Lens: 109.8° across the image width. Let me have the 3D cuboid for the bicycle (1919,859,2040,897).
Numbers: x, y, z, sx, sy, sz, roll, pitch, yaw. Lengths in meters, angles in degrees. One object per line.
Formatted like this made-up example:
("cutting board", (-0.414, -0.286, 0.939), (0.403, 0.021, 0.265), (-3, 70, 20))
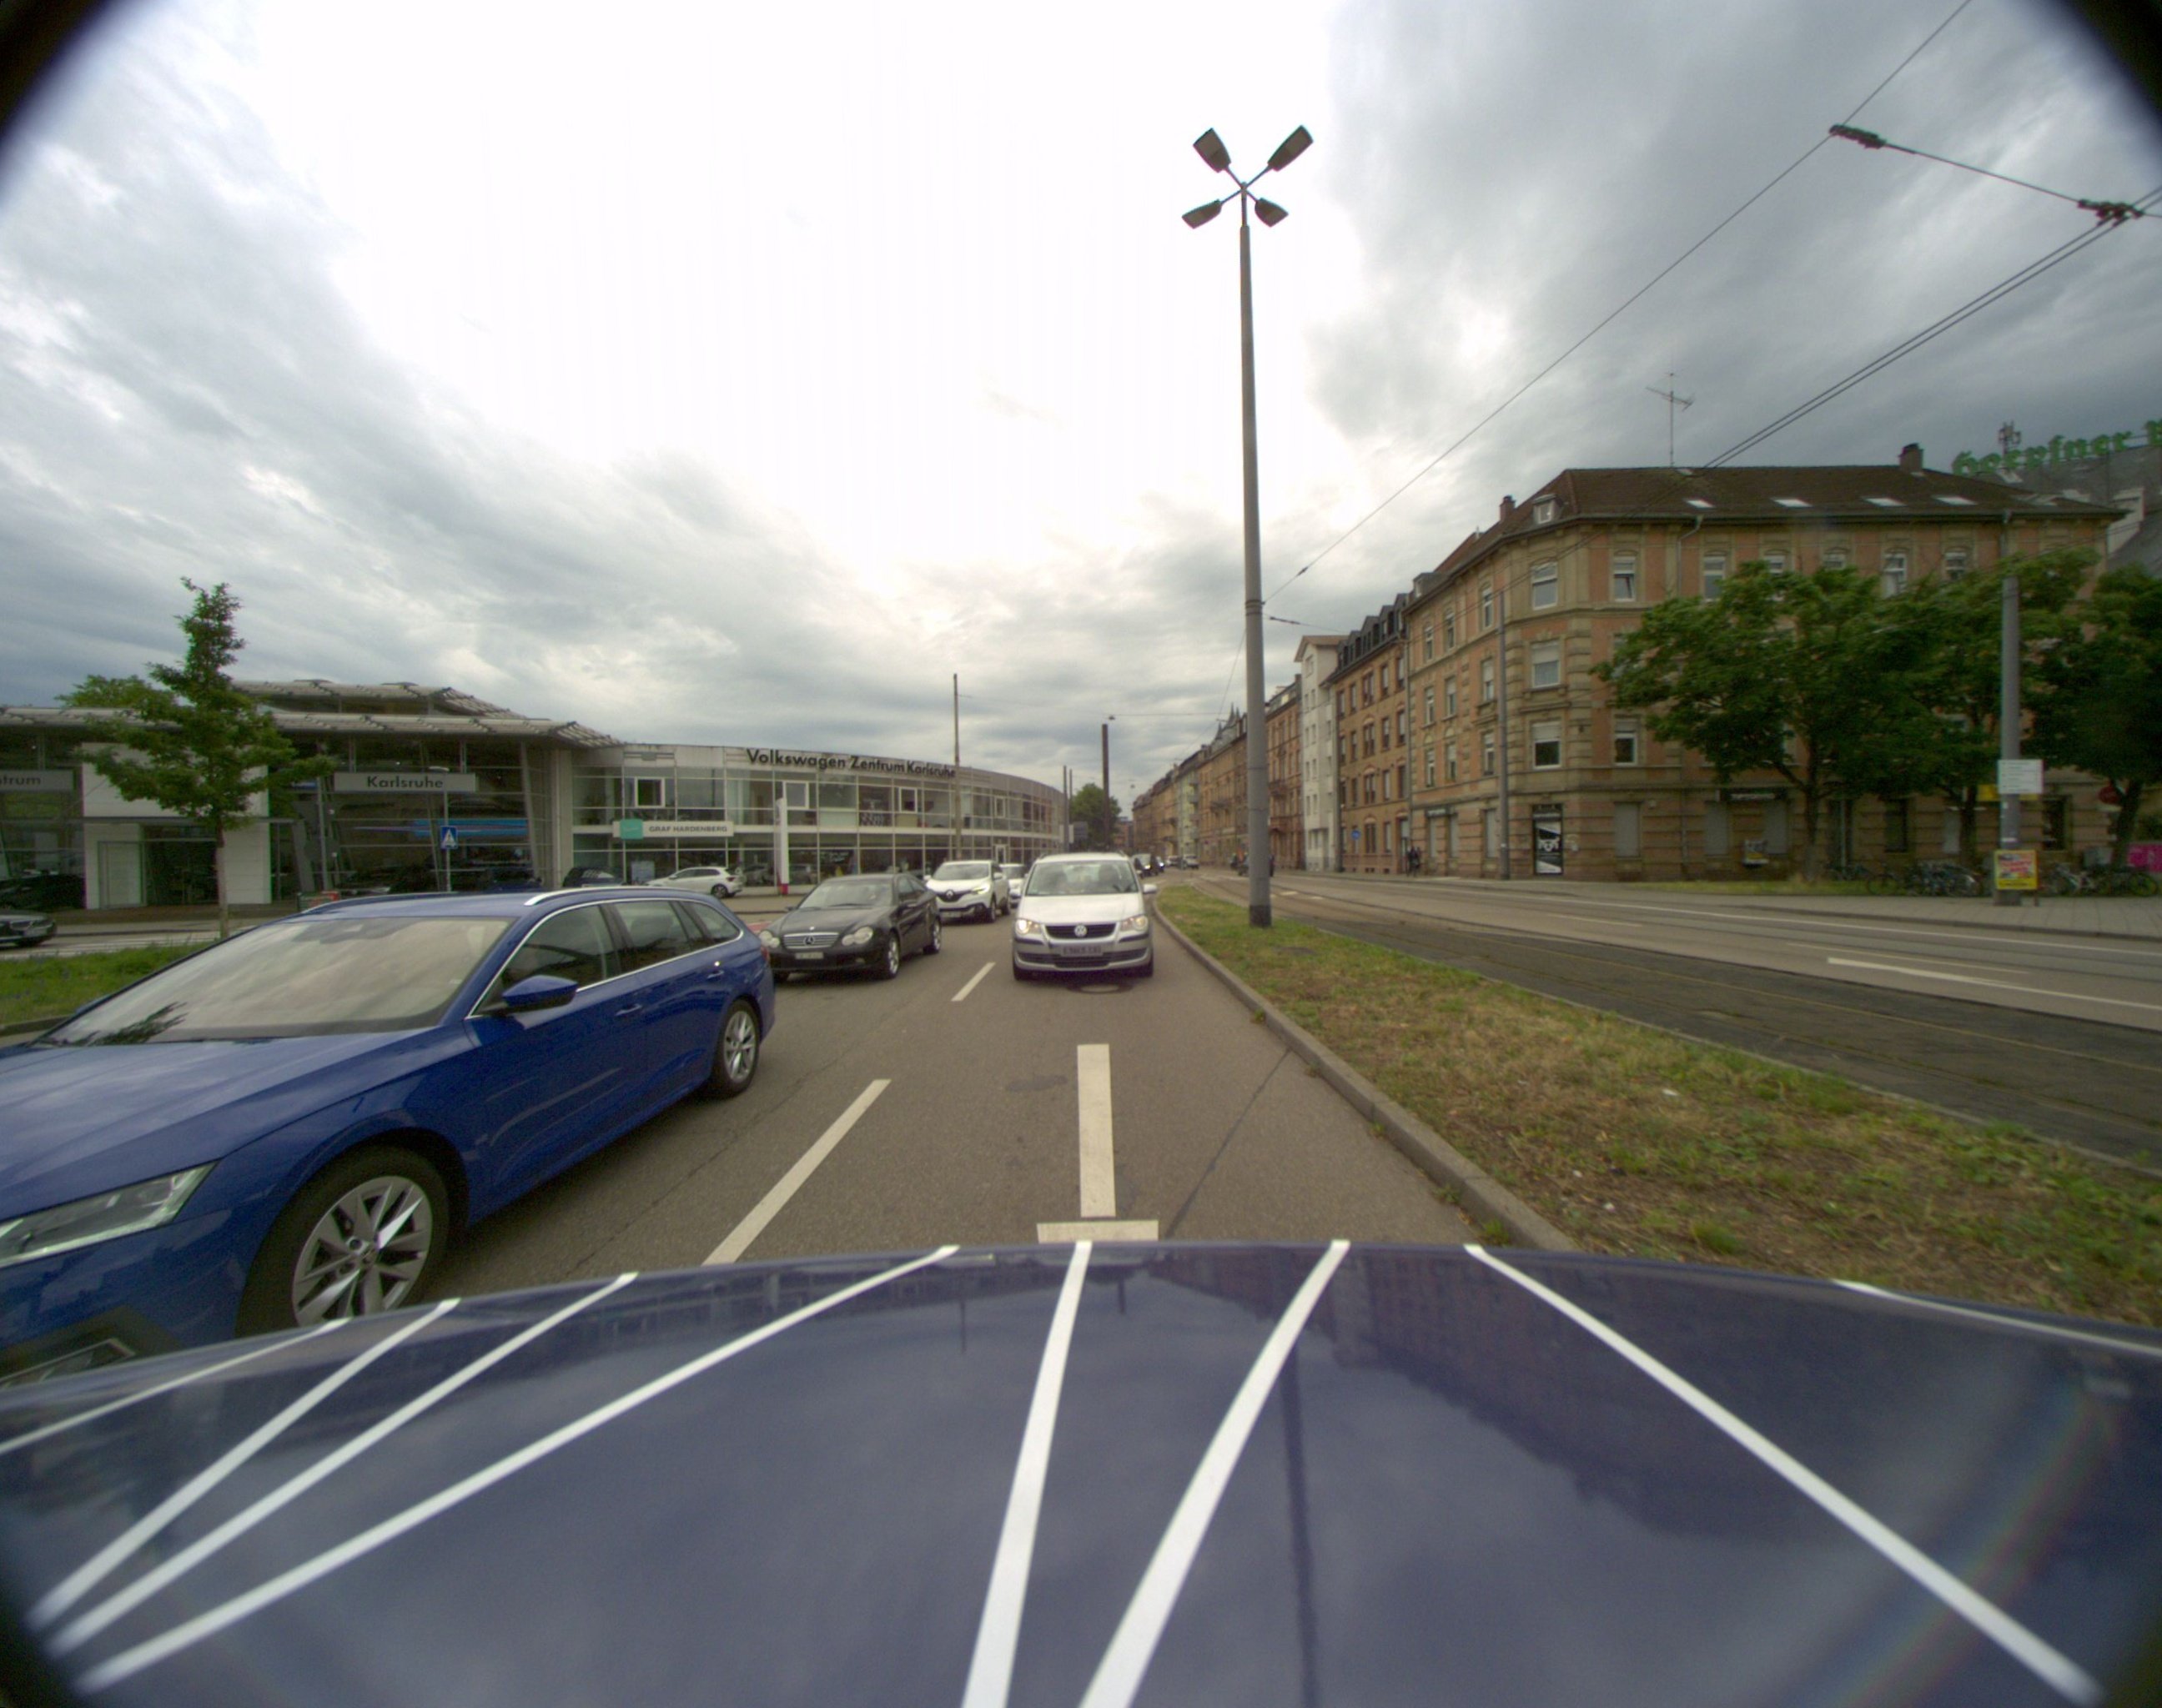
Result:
("bicycle", (26.795, 0.683, 22.736), (0.754, 1.024, 2.396), (-1, 0, -1))

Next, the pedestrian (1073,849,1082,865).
("pedestrian", (-0.422, 0.392, 99.403), (1.177, 2.002, 1.032), (-1, 1, 0))

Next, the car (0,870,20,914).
("car", (-40.579, 1.608, 26.355), (1.958, 1.589, 4.220), (-1, 6, -12))

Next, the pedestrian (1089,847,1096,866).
("pedestrian", (1.074, 0.241, 73.522), (0.652, 1.904, 0.602), (-1, 1, 0))

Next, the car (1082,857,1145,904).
("car", (1.114, 0.852, 26.127), (1.972, 1.447, 4.194), (-1, 0, 3))

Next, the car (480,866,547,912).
("car", (-22.611, 1.315, 30.289), (1.961, 1.517, 4.217), (-1, 2, -37))

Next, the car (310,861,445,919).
("car", (-26.886, 1.282, 29.290), (1.959, 1.634, 4.664), (-1, 4, -18))

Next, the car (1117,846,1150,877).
("car", (3.539, 0.475, 52.018), (1.998, 2.002, 4.000), (-1, 0, 0))

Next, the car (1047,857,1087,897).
("car", (-0.690, 1.168, 40.871), (1.998, 2.002, 4.000), (-1, 0, 0))

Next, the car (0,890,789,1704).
("car", (-3.133, 1.029, 3.513), (1.770, 1.428, 4.756), (-2, 0, -1))

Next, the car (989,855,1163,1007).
("car", (-0.041, 0.849, 10.892), (1.863, 1.609, 5.061), (-2, 0, 0))

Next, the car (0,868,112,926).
("car", (-37.795, 1.522, 26.888), (1.958, 1.449, 4.219), (-1, 7, -12))

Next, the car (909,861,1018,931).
("car", (-2.913, 1.007, 19.764), (1.982, 1.550, 4.145), (-1, 0, 3))

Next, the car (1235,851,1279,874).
("car", (12.163, 0.571, 52.788), (1.888, 1.461, 4.463), (-1, 0, -2))

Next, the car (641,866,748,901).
("car", (-17.377, 1.302, 34.323), (3.908, 1.433, 1.731), (-1, 0, -10))

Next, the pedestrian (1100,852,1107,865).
("pedestrian", (3.498, 0.699, 115.811), (1.004, 2.002, 0.908), (-1, 1, 0))

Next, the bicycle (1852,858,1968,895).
("bicycle", (24.748, 0.641, 22.758), (0.837, 1.024, 2.396), (-1, 0, -1))

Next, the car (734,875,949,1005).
("car", (-3.285, 1.101, 11.410), (1.770, 1.362, 4.422), (-2, 0, 0))

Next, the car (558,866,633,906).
("car", (-20.401, 1.282, 31.871), (1.795, 1.552, 4.023), (-1, 0, -45))

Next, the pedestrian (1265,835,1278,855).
("pedestrian", (17.355, -0.795, 69.139), (0.921, 1.822, 0.719), (-2, 1, -36))

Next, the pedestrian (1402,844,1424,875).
("pedestrian", (18.244, 0.287, 41.780), (0.812, 1.666, 0.798), (-1, 1, -4))

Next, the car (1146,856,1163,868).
("car", (10.934, 1.143, 113.688), (1.897, 1.693, 4.232), (-1, 0, -2))

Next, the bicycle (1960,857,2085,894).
("bicycle", (27.894, 0.618, 22.588), (0.754, 1.024, 2.396), (-1, 0, -1))

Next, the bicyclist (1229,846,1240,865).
("bicyclist", (14.811, 0.135, 73.509), (0.824, 1.856, 0.924), (-1, 1, -1))

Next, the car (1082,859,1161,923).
("car", (0.932, 0.872, 19.553), (1.810, 1.398, 3.982), (-1, 0, 0))

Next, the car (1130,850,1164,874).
("car", (4.966, 0.562, 57.909), (2.372, 1.744, 5.130), (-1, 0, 3))

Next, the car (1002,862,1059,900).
("car", (-2.043, 1.097, 31.952), (1.908, 1.428, 3.972), (-1, 0, 3))

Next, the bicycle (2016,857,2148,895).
("bicycle", (29.521, 0.627, 22.485), (0.754, 1.024, 2.396), (-1, 0, -1))

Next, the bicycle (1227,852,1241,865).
("bicycle", (14.817, 0.417, 73.661), (0.799, 1.285, 2.411), (-1, 0, 0))

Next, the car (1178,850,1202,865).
("car", (11.994, 0.375, 83.953), (1.835, 1.635, 4.229), (-1, 0, -2))

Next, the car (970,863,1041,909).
("car", (-2.545, 1.059, 26.535), (1.908, 1.428, 3.972), (-1, 0, 3))

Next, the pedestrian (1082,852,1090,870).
("pedestrian", (0.446, 0.618, 70.105), (0.663, 1.671, 0.650), (-1, 1, -2))

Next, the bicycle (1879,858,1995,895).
("bicycle", (25.565, 0.649, 22.775), (0.754, 1.024, 2.396), (-1, 0, -1))

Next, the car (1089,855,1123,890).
("car", (1.506, 1.118, 47.178), (1.998, 2.002, 4.000), (-1, 0, 0))

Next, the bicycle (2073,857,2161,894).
("bicycle", (30.908, 0.622, 22.184), (0.754, 1.024, 2.396), (-1, 0, -1))

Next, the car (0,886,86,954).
("car", (-28.114, 1.622, 18.332), (4.884, 1.534, 1.889), (-1, 0, -13))

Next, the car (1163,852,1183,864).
("car", (11.602, 0.449, 96.071), (1.815, 1.423, 4.016), (-1, 0, -2))
